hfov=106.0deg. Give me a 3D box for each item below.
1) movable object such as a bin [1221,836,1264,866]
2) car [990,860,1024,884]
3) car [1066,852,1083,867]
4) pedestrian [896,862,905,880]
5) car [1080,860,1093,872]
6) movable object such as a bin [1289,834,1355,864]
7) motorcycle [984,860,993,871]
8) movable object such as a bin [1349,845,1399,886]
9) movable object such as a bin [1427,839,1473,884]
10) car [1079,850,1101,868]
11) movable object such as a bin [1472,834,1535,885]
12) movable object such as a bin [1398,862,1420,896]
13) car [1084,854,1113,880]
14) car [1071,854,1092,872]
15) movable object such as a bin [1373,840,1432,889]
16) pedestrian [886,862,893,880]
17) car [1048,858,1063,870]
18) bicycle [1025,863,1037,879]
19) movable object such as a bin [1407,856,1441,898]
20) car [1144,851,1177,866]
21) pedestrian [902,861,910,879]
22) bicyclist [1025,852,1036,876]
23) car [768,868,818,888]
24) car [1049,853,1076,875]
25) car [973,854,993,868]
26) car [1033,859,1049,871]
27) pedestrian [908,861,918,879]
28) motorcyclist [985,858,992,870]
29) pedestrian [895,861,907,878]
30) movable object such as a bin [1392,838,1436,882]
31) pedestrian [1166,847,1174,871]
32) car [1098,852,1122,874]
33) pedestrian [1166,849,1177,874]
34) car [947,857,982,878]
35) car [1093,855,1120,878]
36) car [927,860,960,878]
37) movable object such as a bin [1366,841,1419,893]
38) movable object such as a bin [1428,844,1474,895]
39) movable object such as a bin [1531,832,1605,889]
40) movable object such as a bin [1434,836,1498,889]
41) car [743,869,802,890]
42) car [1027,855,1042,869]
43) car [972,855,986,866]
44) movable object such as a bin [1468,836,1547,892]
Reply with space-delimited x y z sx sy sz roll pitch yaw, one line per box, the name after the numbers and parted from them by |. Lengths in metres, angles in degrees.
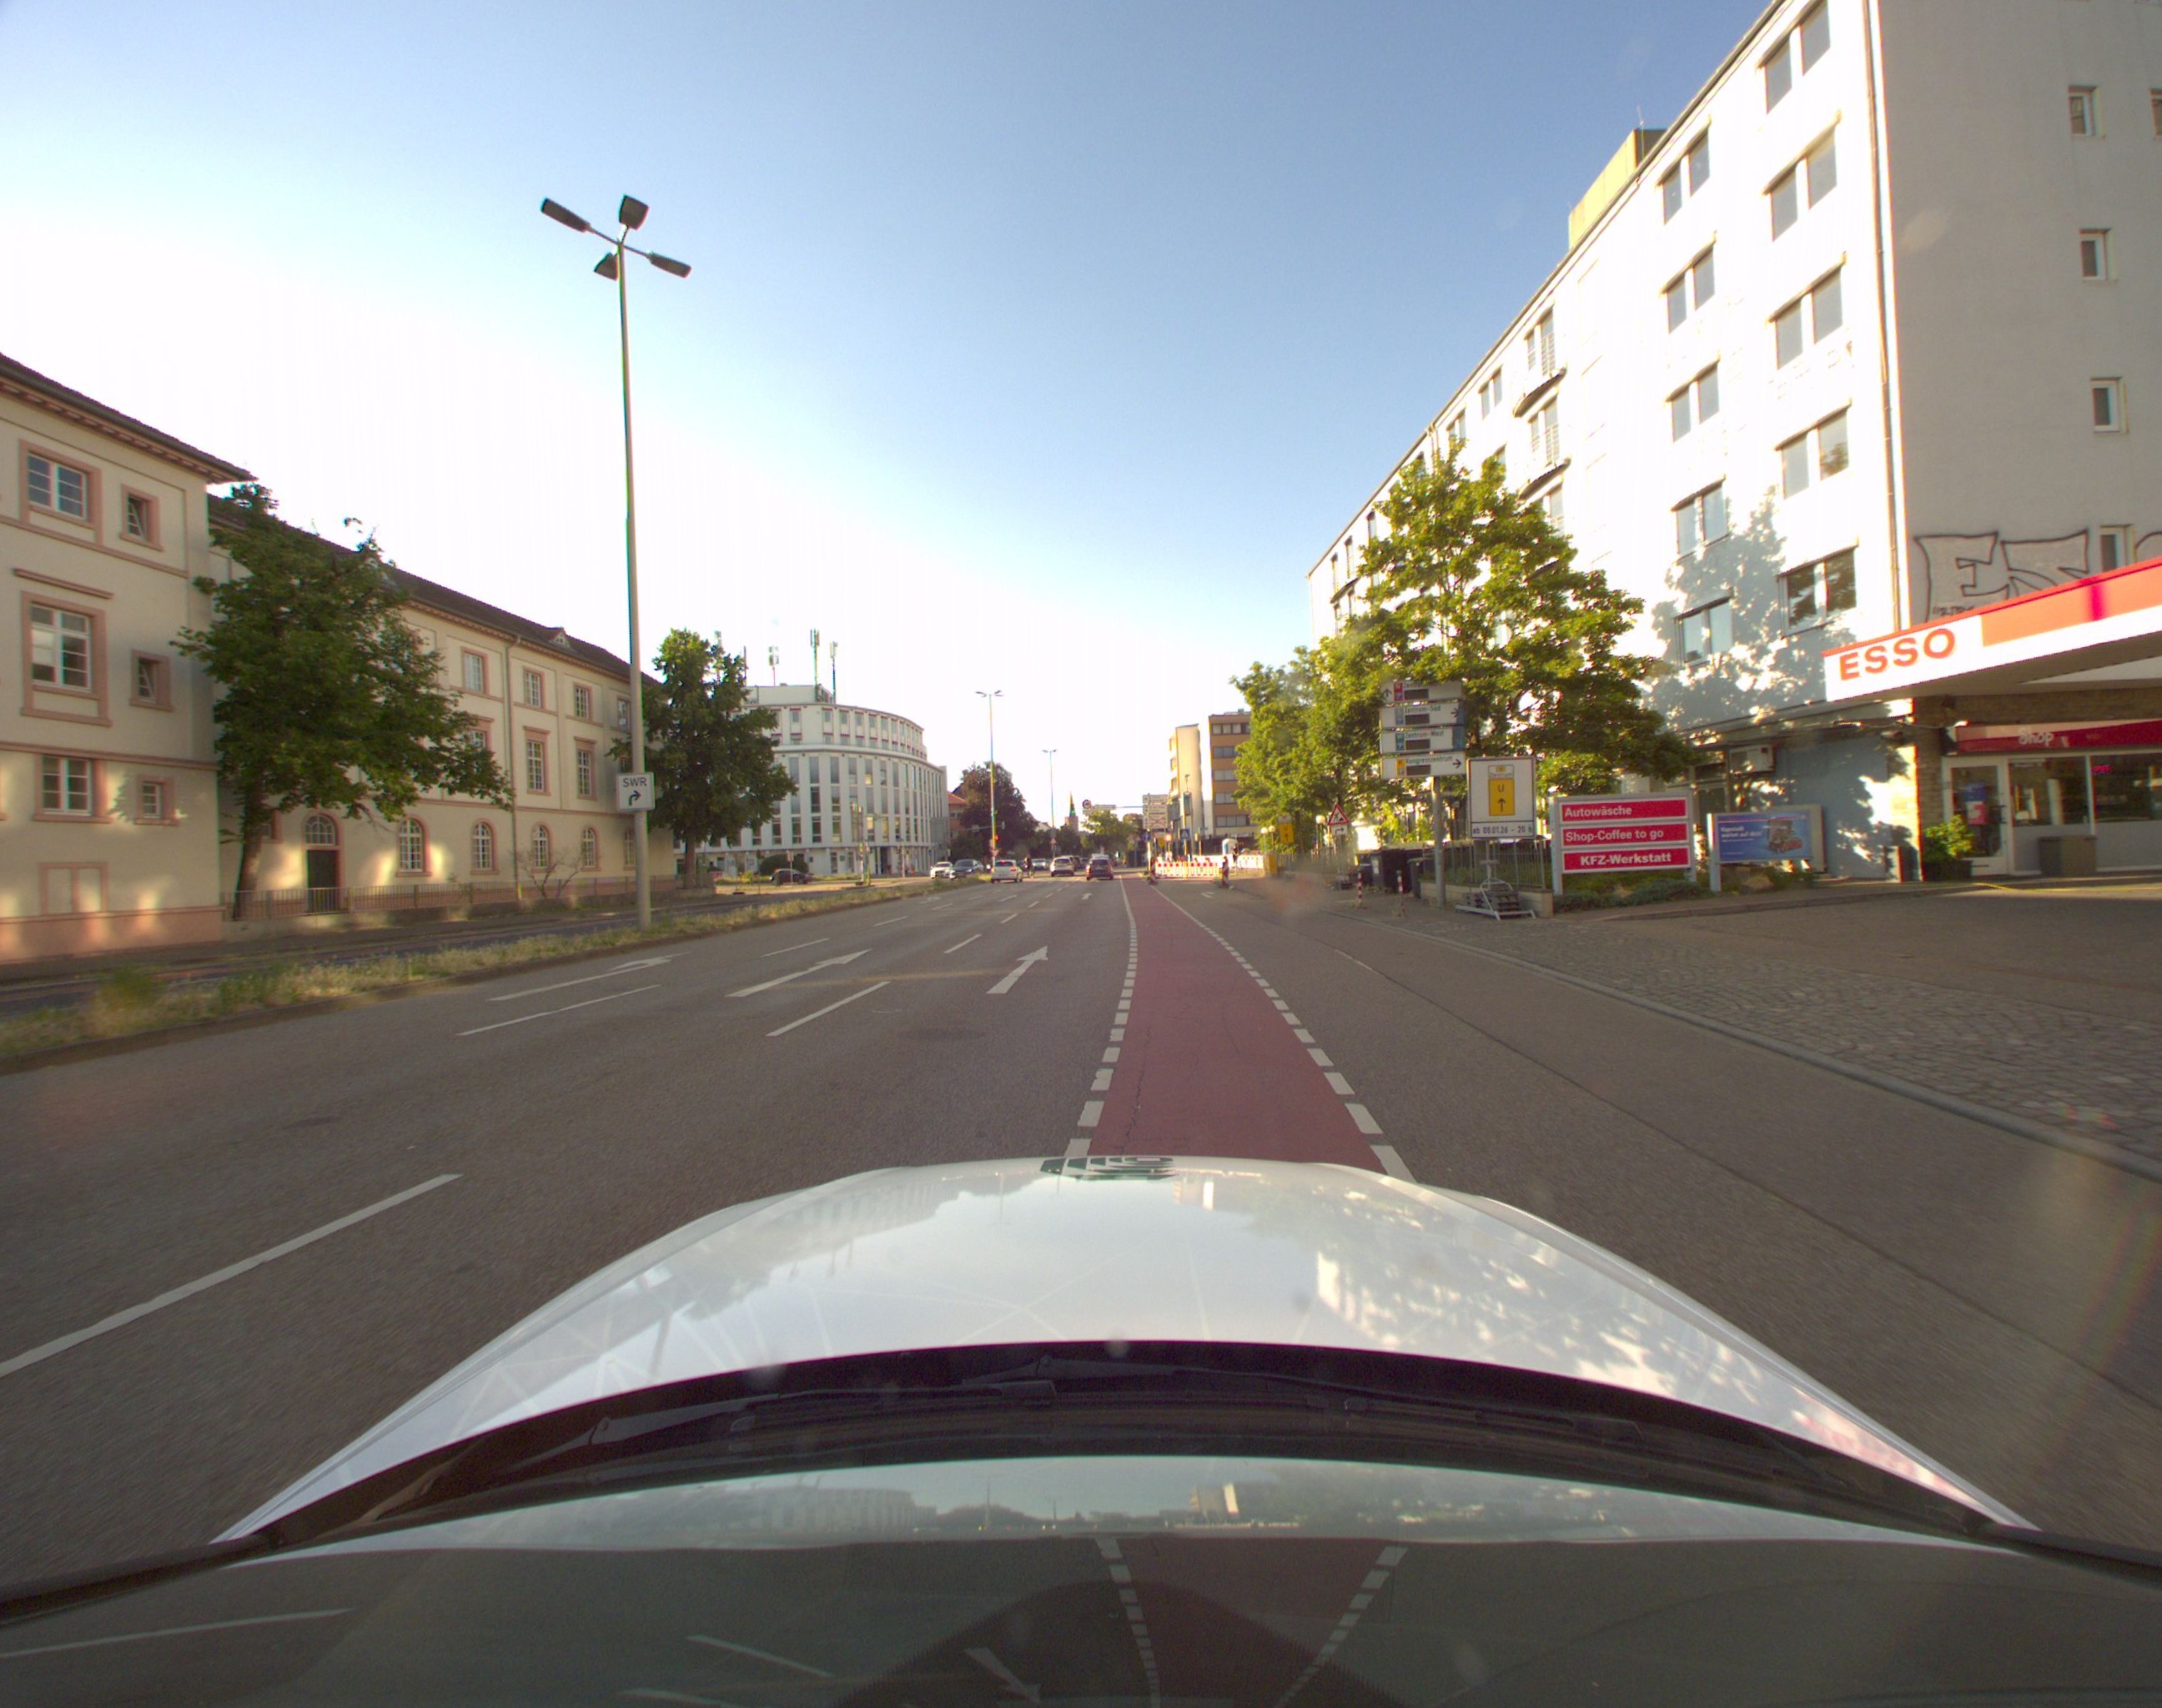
13.718 -0.273 69.241 3.316 2.383 1.529 -3 -1 1 | movable object such as a bin
-4.830 1.143 53.652 1.678 1.457 4.003 -2 0 3 | car
-0.685 0.607 90.433 1.658 1.657 4.003 -3 0 3 | car
-19.324 1.787 87.153 0.758 1.842 0.816 -2 -1 -8 | pedestrian
0.888 1.785 122.052 1.658 1.657 4.003 -3 0 3 | car
22.372 -0.483 75.716 5.334 2.490 2.547 -3 -1 -1 | movable object such as a bin
-11.508 1.468 101.463 0.767 1.284 2.842 -2 0 0 | motorcycle
10.169 0.404 28.255 1.215 1.344 1.050 -2 -1 -13 | movable object such as a bin
12.814 0.251 28.304 1.121 1.485 0.957 -3 -1 2 | movable object such as a bin
0.936 0.527 81.155 1.987 1.508 4.000 -4 -2 1 | car
12.584 0.153 24.289 1.190 1.421 1.281 -4 0 4 | movable object such as a bin
9.078 0.683 22.544 0.391 0.907 0.491 -3 -1 4 | movable object such as a bin
1.220 0.851 53.926 1.741 1.564 4.052 -3 0 2 | car
0.056 0.841 76.410 1.741 1.564 4.052 -3 0 2 | car
10.399 0.334 26.381 1.325 1.485 1.207 -2 0 -8 | movable object such as a bin
-20.415 1.842 86.924 0.660 1.859 0.776 -2 -1 -10 | pedestrian
-3.407 1.357 109.239 1.842 1.461 4.048 -3 0 -1 | car
-3.605 1.225 58.557 0.697 1.100 2.257 -2 0 -1 | bicycle
9.055 0.600 21.505 0.616 1.046 0.617 -3 -1 4 | movable object such as a bin
10.839 0.594 111.438 4.349 1.877 2.000 -3 -1 0 | car
-18.545 1.722 86.276 0.657 1.868 0.779 -2 -1 2 | pedestrian
-3.631 0.729 58.609 0.689 1.728 0.987 -2 -1 -1 | bicyclist
-26.321 2.219 74.542 3.798 1.530 1.862 -4 -2 -2 | car
-1.416 0.749 64.038 1.741 1.564 4.052 -3 0 2 | car
-11.259 0.842 93.692 1.679 1.498 4.514 -2 0 0 | car
-5.055 1.360 103.847 1.842 1.461 4.048 -3 0 -1 | car
-17.791 1.700 86.307 0.623 1.868 1.130 -3 -1 10 | pedestrian
-11.539 1.205 101.592 0.767 1.419 1.238 -2 -1 0 | motorcyclist
-22.426 1.883 101.373 1.084 2.013 1.039 -3 -1 12 | pedestrian
11.661 0.209 28.520 1.099 1.485 0.957 -3 -1 1 | movable object such as a bin
6.854 0.382 62.395 0.518 1.868 0.616 -3 -1 7 | pedestrian
2.330 0.734 65.451 1.813 1.640 4.001 -3 0 1 | car
6.845 0.571 61.663 0.737 1.799 0.716 -3 -1 6 | pedestrian
-9.411 1.061 66.113 1.986 1.578 4.900 -2 0 1 | car
1.909 0.892 60.185 1.720 1.579 3.728 -3 0 5 | car
-12.593 1.374 74.679 1.985 1.413 4.447 -3 0 3 | car
9.432 0.409 24.719 1.088 1.508 1.254 -2 -3 2 | movable object such as a bin
9.836 0.403 21.685 0.774 1.309 0.865 -3 -1 1 | movable object such as a bin
12.956 0.166 21.706 1.400 1.410 0.865 -3 -1 1 | movable object such as a bin
11.345 0.237 24.034 1.301 1.433 1.282 -4 0 7 | movable object such as a bin
-27.184 2.234 71.906 4.323 1.629 2.003 -3 -1 6 | car
-6.878 1.164 120.239 1.909 1.811 4.716 -3 0 -1 | car
-16.213 1.069 129.580 1.838 1.572 3.993 -2 0 -5 | car
11.346 0.259 21.710 1.602 1.410 0.865 -3 -1 0 | movable object such as a bin
